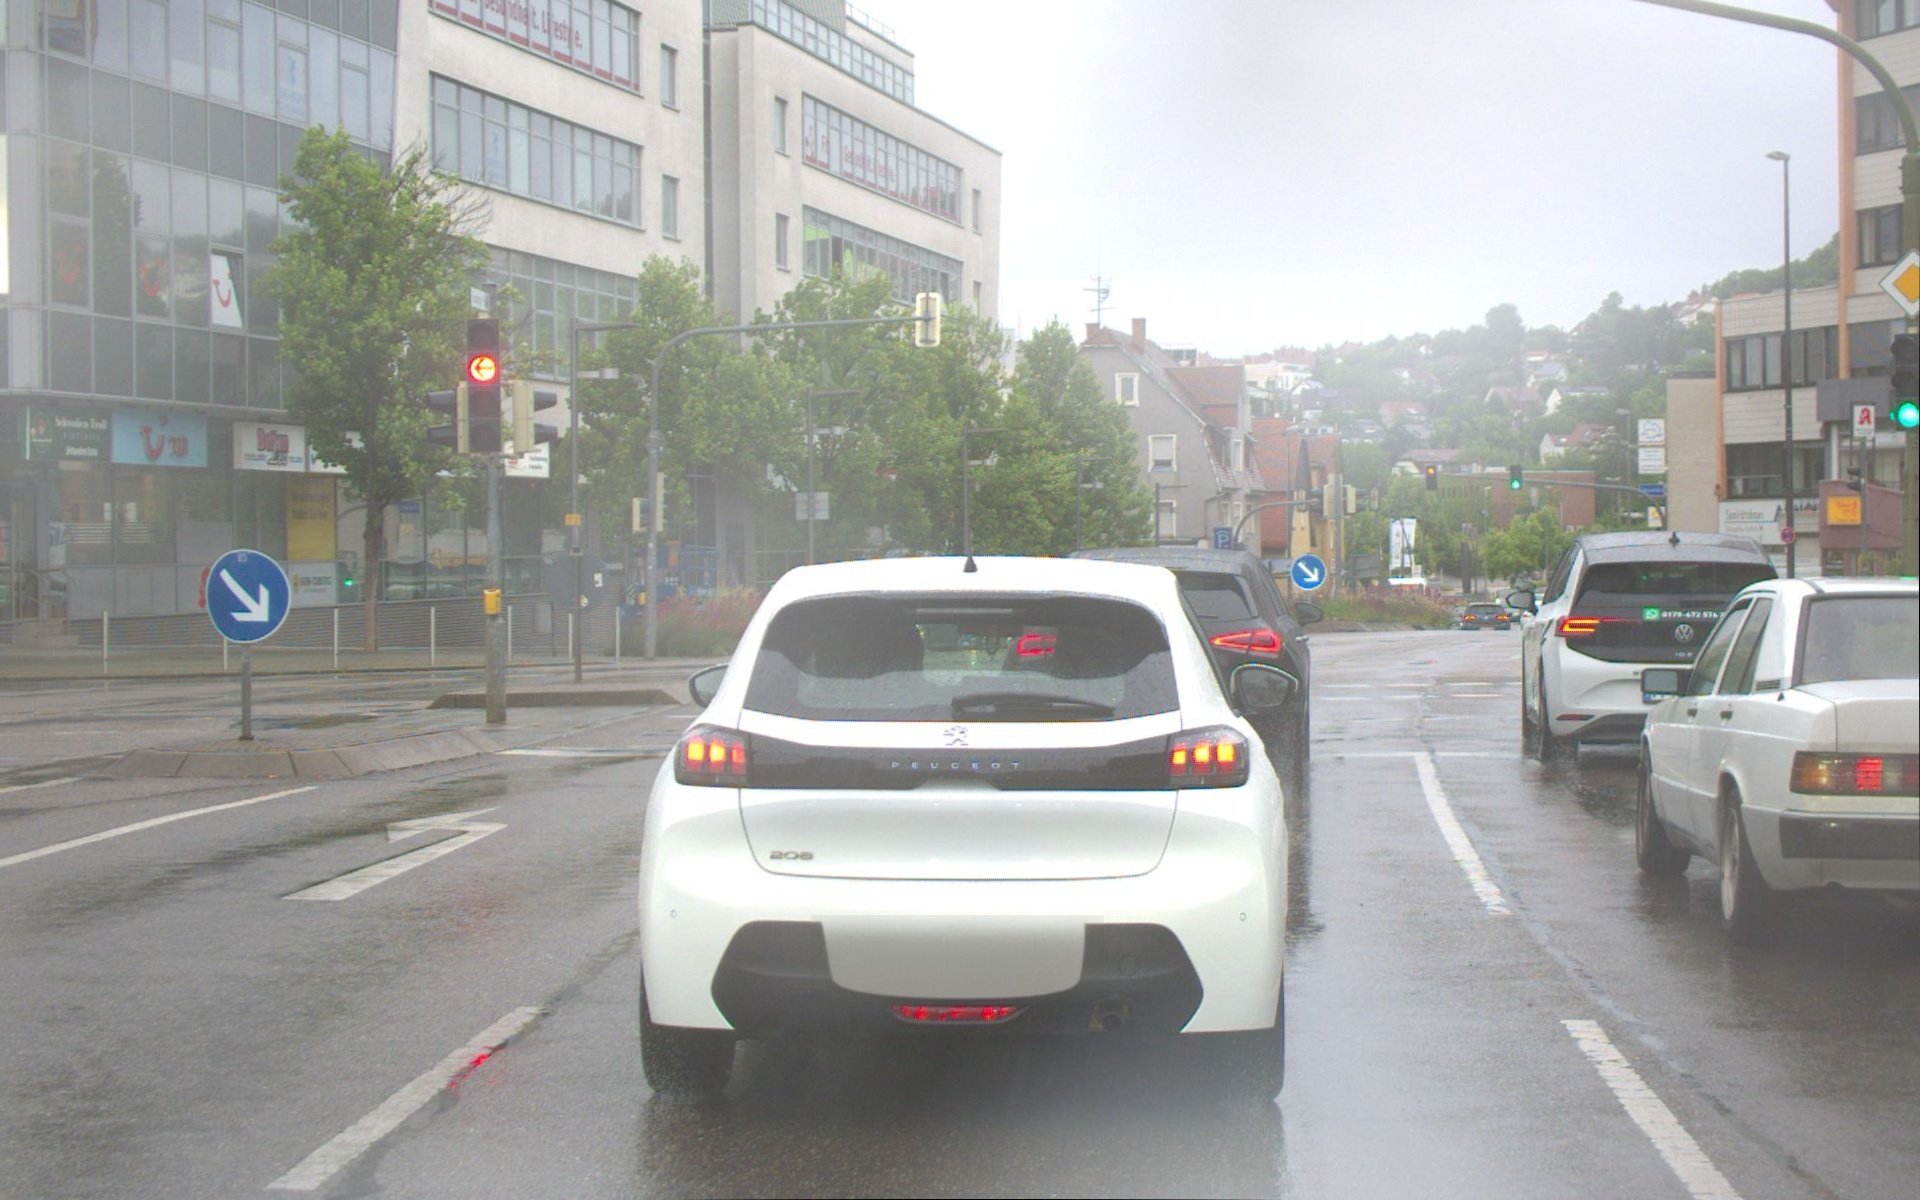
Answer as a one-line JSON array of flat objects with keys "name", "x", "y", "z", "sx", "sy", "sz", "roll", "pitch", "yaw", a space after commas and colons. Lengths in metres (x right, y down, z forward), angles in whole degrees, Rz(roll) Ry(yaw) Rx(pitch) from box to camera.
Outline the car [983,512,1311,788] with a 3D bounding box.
[{"name": "car", "x": 1.244, "y": 0.244, "z": 21.289, "sx": 1.816, "sy": 1.524, "sz": 3.812, "roll": -1, "pitch": 1, "yaw": 6}]

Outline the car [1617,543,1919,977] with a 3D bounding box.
[{"name": "car", "x": 3.686, "y": 0.531, "z": 13.619, "sx": 1.634, "sy": 1.443, "sz": 4.268, "roll": 1, "pitch": 1, "yaw": 5}]

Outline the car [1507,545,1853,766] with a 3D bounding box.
[{"name": "car", "x": 4.828, "y": 0.336, "z": 23.479, "sx": 1.912, "sy": 1.395, "sz": 3.457, "roll": 0, "pitch": 1, "yaw": 5}]

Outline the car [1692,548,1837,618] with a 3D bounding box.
[{"name": "car", "x": 26.396, "y": -0.550, "z": 112.993, "sx": 1.993, "sy": 2.219, "sz": 4.977, "roll": -1, "pitch": 0, "yaw": -24}]

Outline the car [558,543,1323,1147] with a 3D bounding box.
[{"name": "car", "x": 0.061, "y": 0.567, "z": 10.396, "sx": 1.872, "sy": 1.457, "sz": 3.873, "roll": 1, "pitch": 1, "yaw": 3}]

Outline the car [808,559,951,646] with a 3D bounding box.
[{"name": "car", "x": -1.575, "y": 0.011, "z": 69.240, "sx": 1.921, "sy": 1.626, "sz": 4.901, "roll": 1, "pitch": 1, "yaw": 10}]
